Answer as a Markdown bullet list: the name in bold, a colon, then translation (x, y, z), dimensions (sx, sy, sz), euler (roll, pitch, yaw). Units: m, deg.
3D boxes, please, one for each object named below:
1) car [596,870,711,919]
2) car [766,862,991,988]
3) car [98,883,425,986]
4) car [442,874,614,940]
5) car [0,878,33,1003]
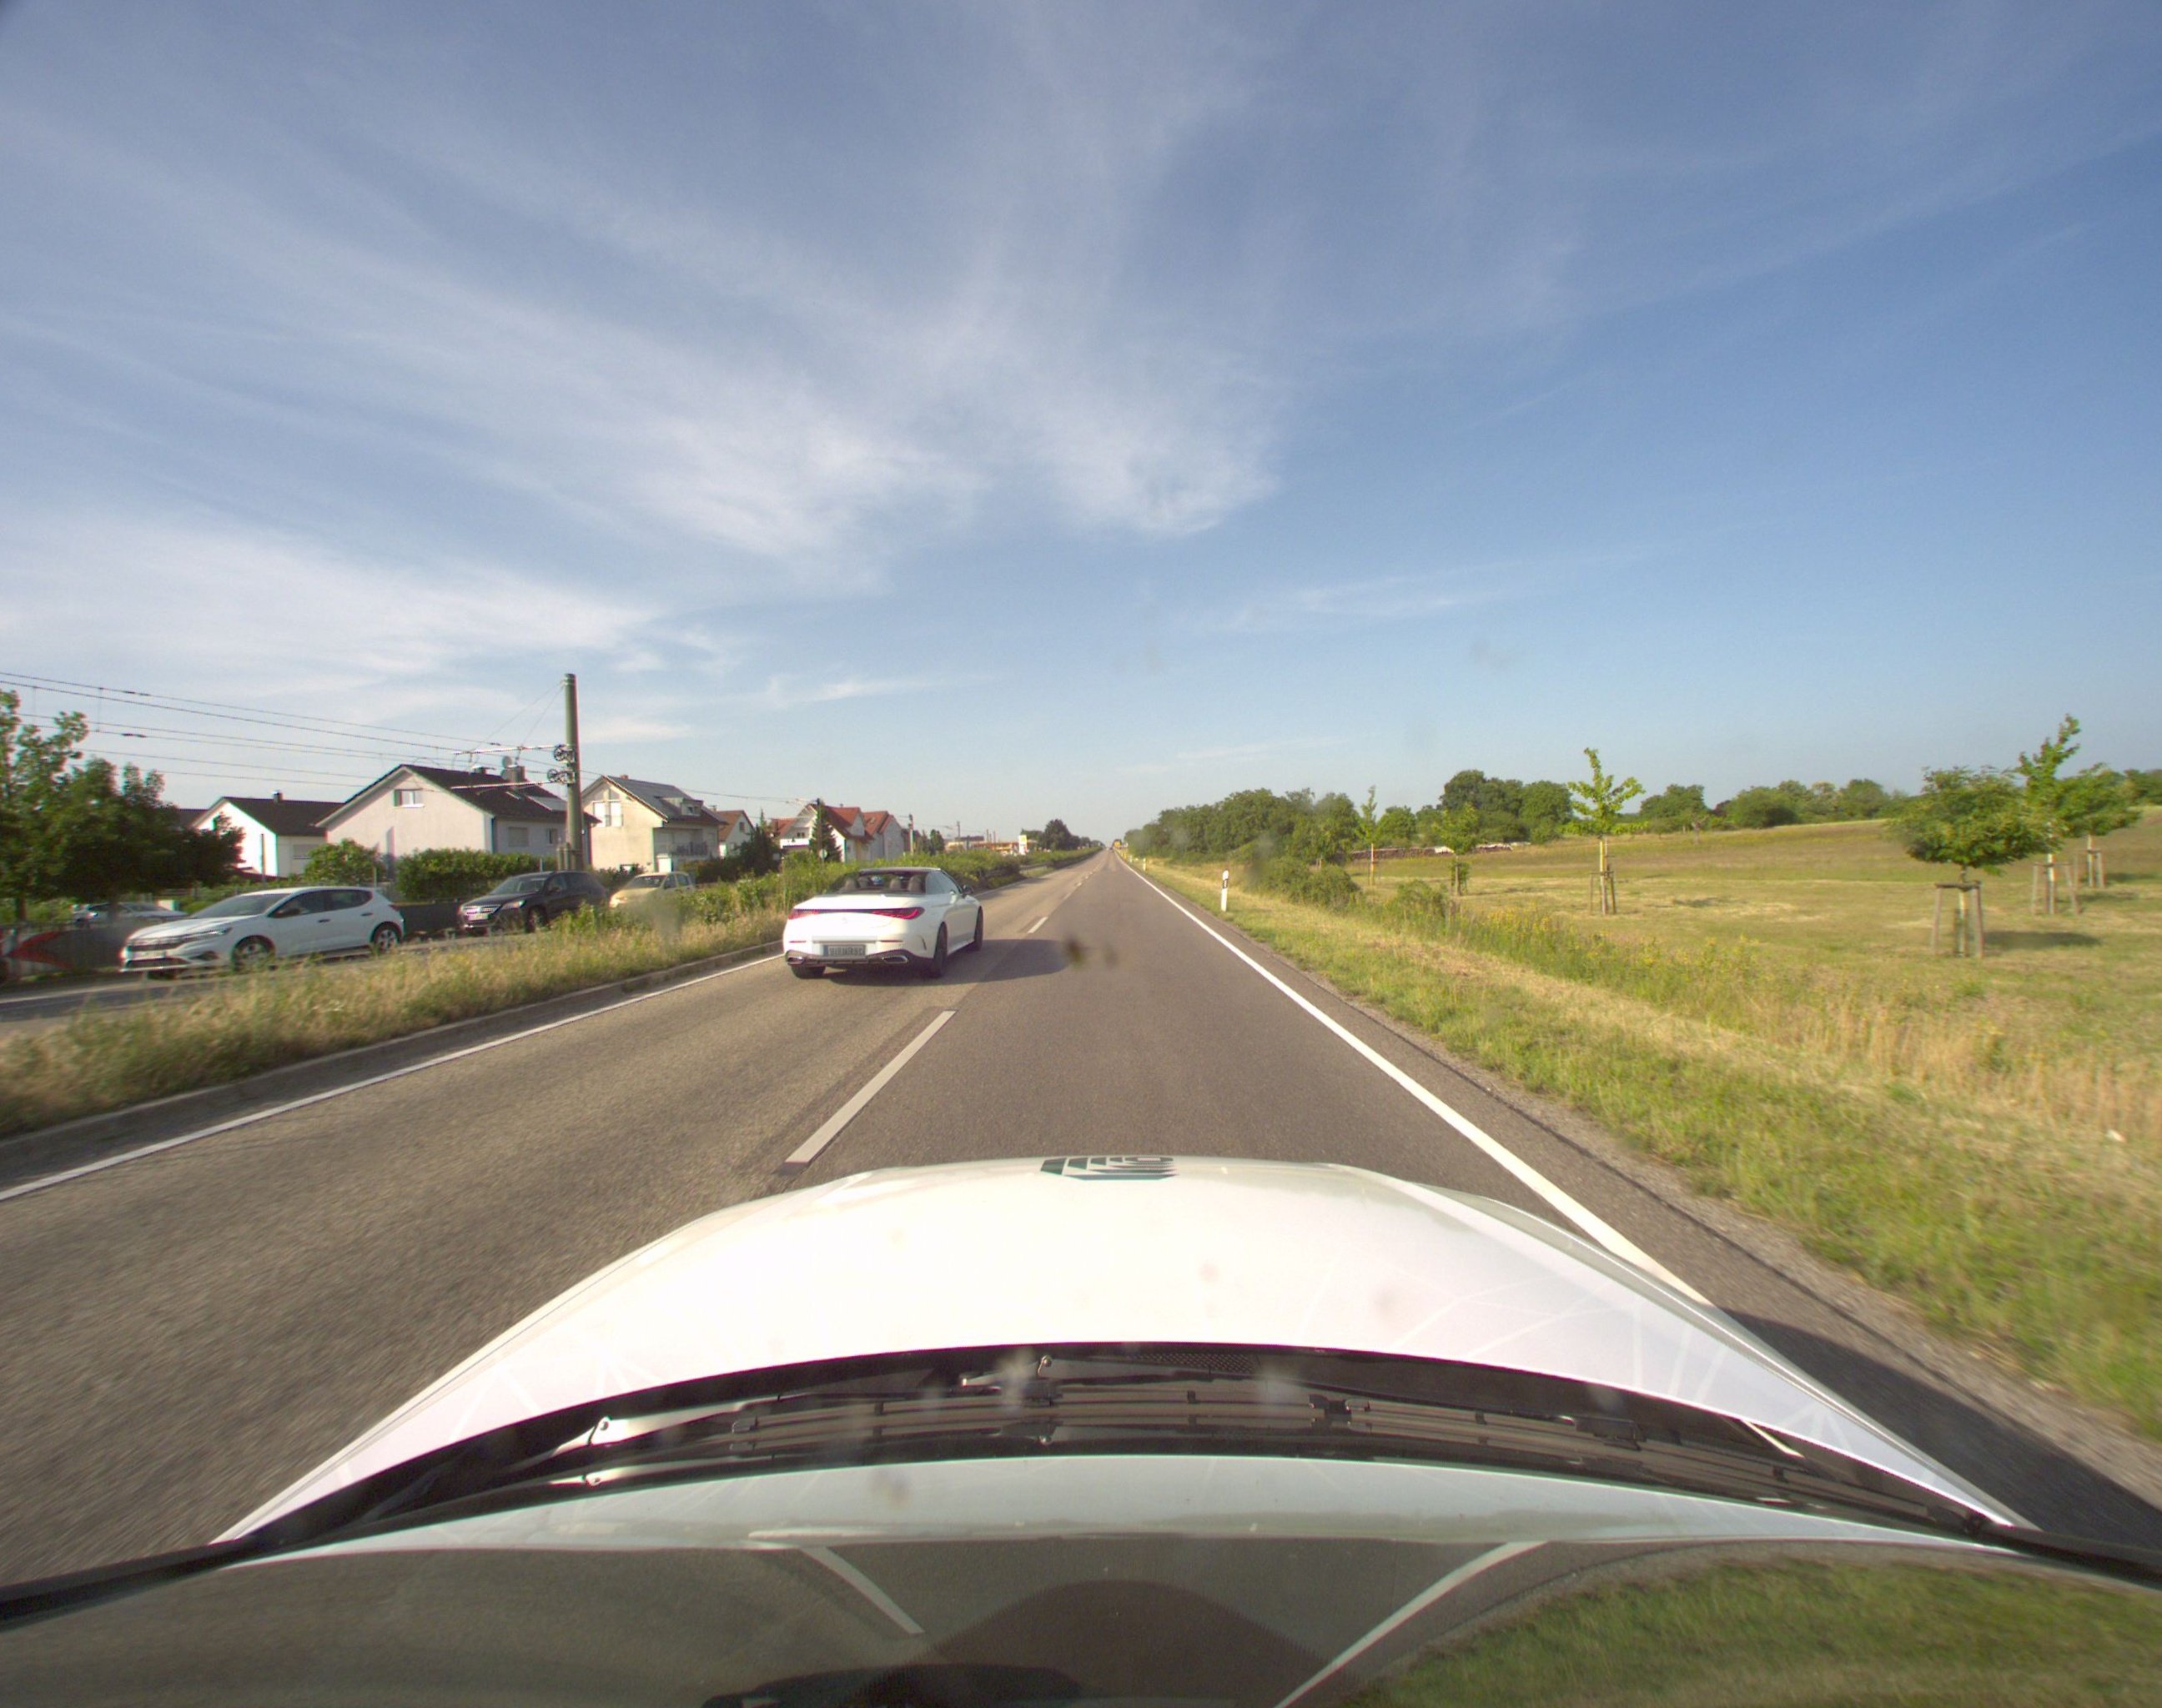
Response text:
- **car**: translation (-15.294, 1.390, 29.418), dimensions (1.654, 1.431, 4.328), euler (-4, 0, 2)
- **car**: translation (-2.541, 0.819, 11.580), dimensions (1.764, 1.337, 4.953), euler (0, 0, 2)
- **car**: translation (-15.431, 1.419, 15.768), dimensions (1.654, 1.431, 4.450), euler (-4, 0, 2)
- **car**: translation (-15.205, 1.393, 22.735), dimensions (1.654, 1.431, 4.328), euler (-4, 0, 2)
- **car**: translation (-15.734, 1.243, 8.773), dimensions (1.908, 1.683, 5.256), euler (-4, 0, 2)
